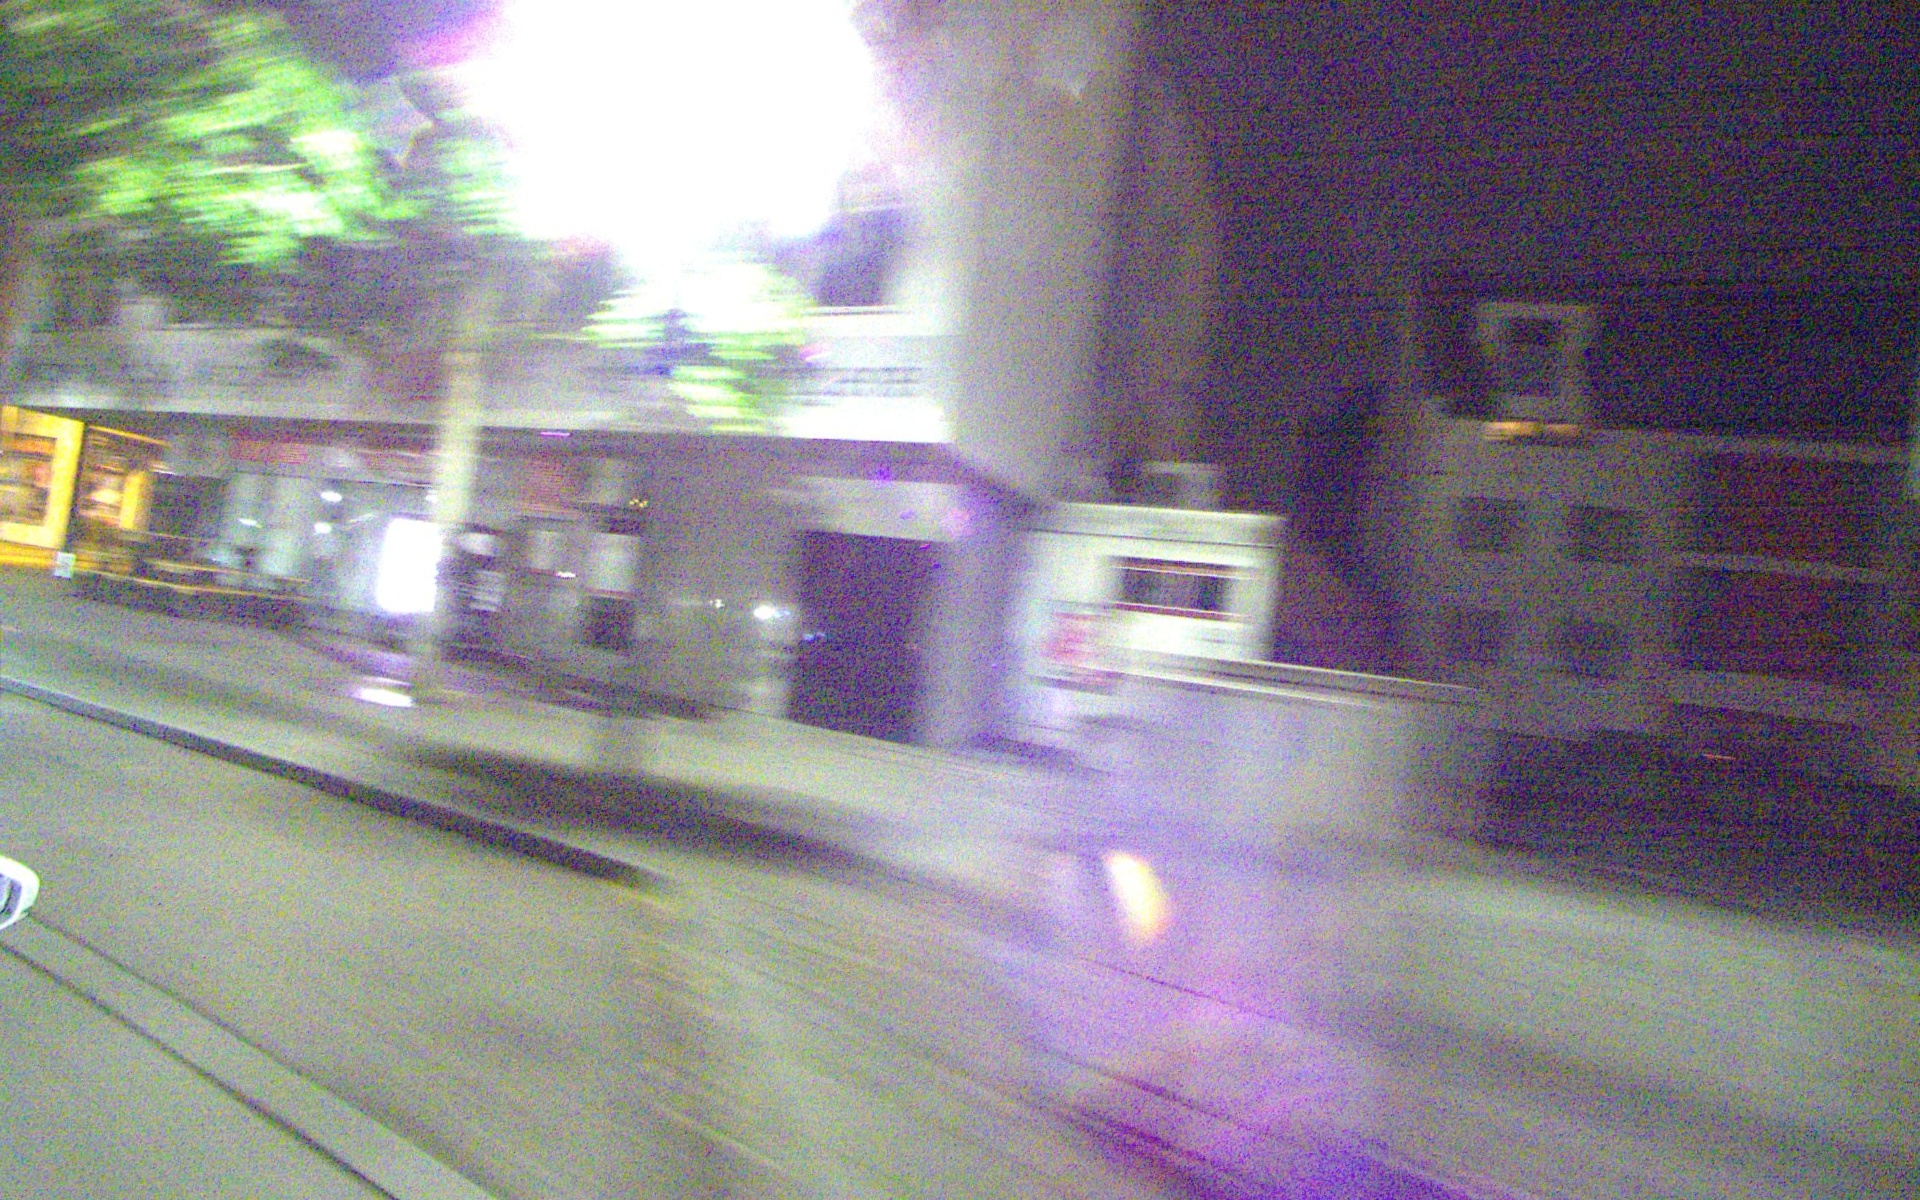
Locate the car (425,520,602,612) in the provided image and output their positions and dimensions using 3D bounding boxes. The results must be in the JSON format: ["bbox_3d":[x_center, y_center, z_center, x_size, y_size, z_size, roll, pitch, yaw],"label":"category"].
[{"bbox_3d":[-17.757,-1.318,40.208,5.622,2.677,2.539,8,-2,5],"label":"car"}]
